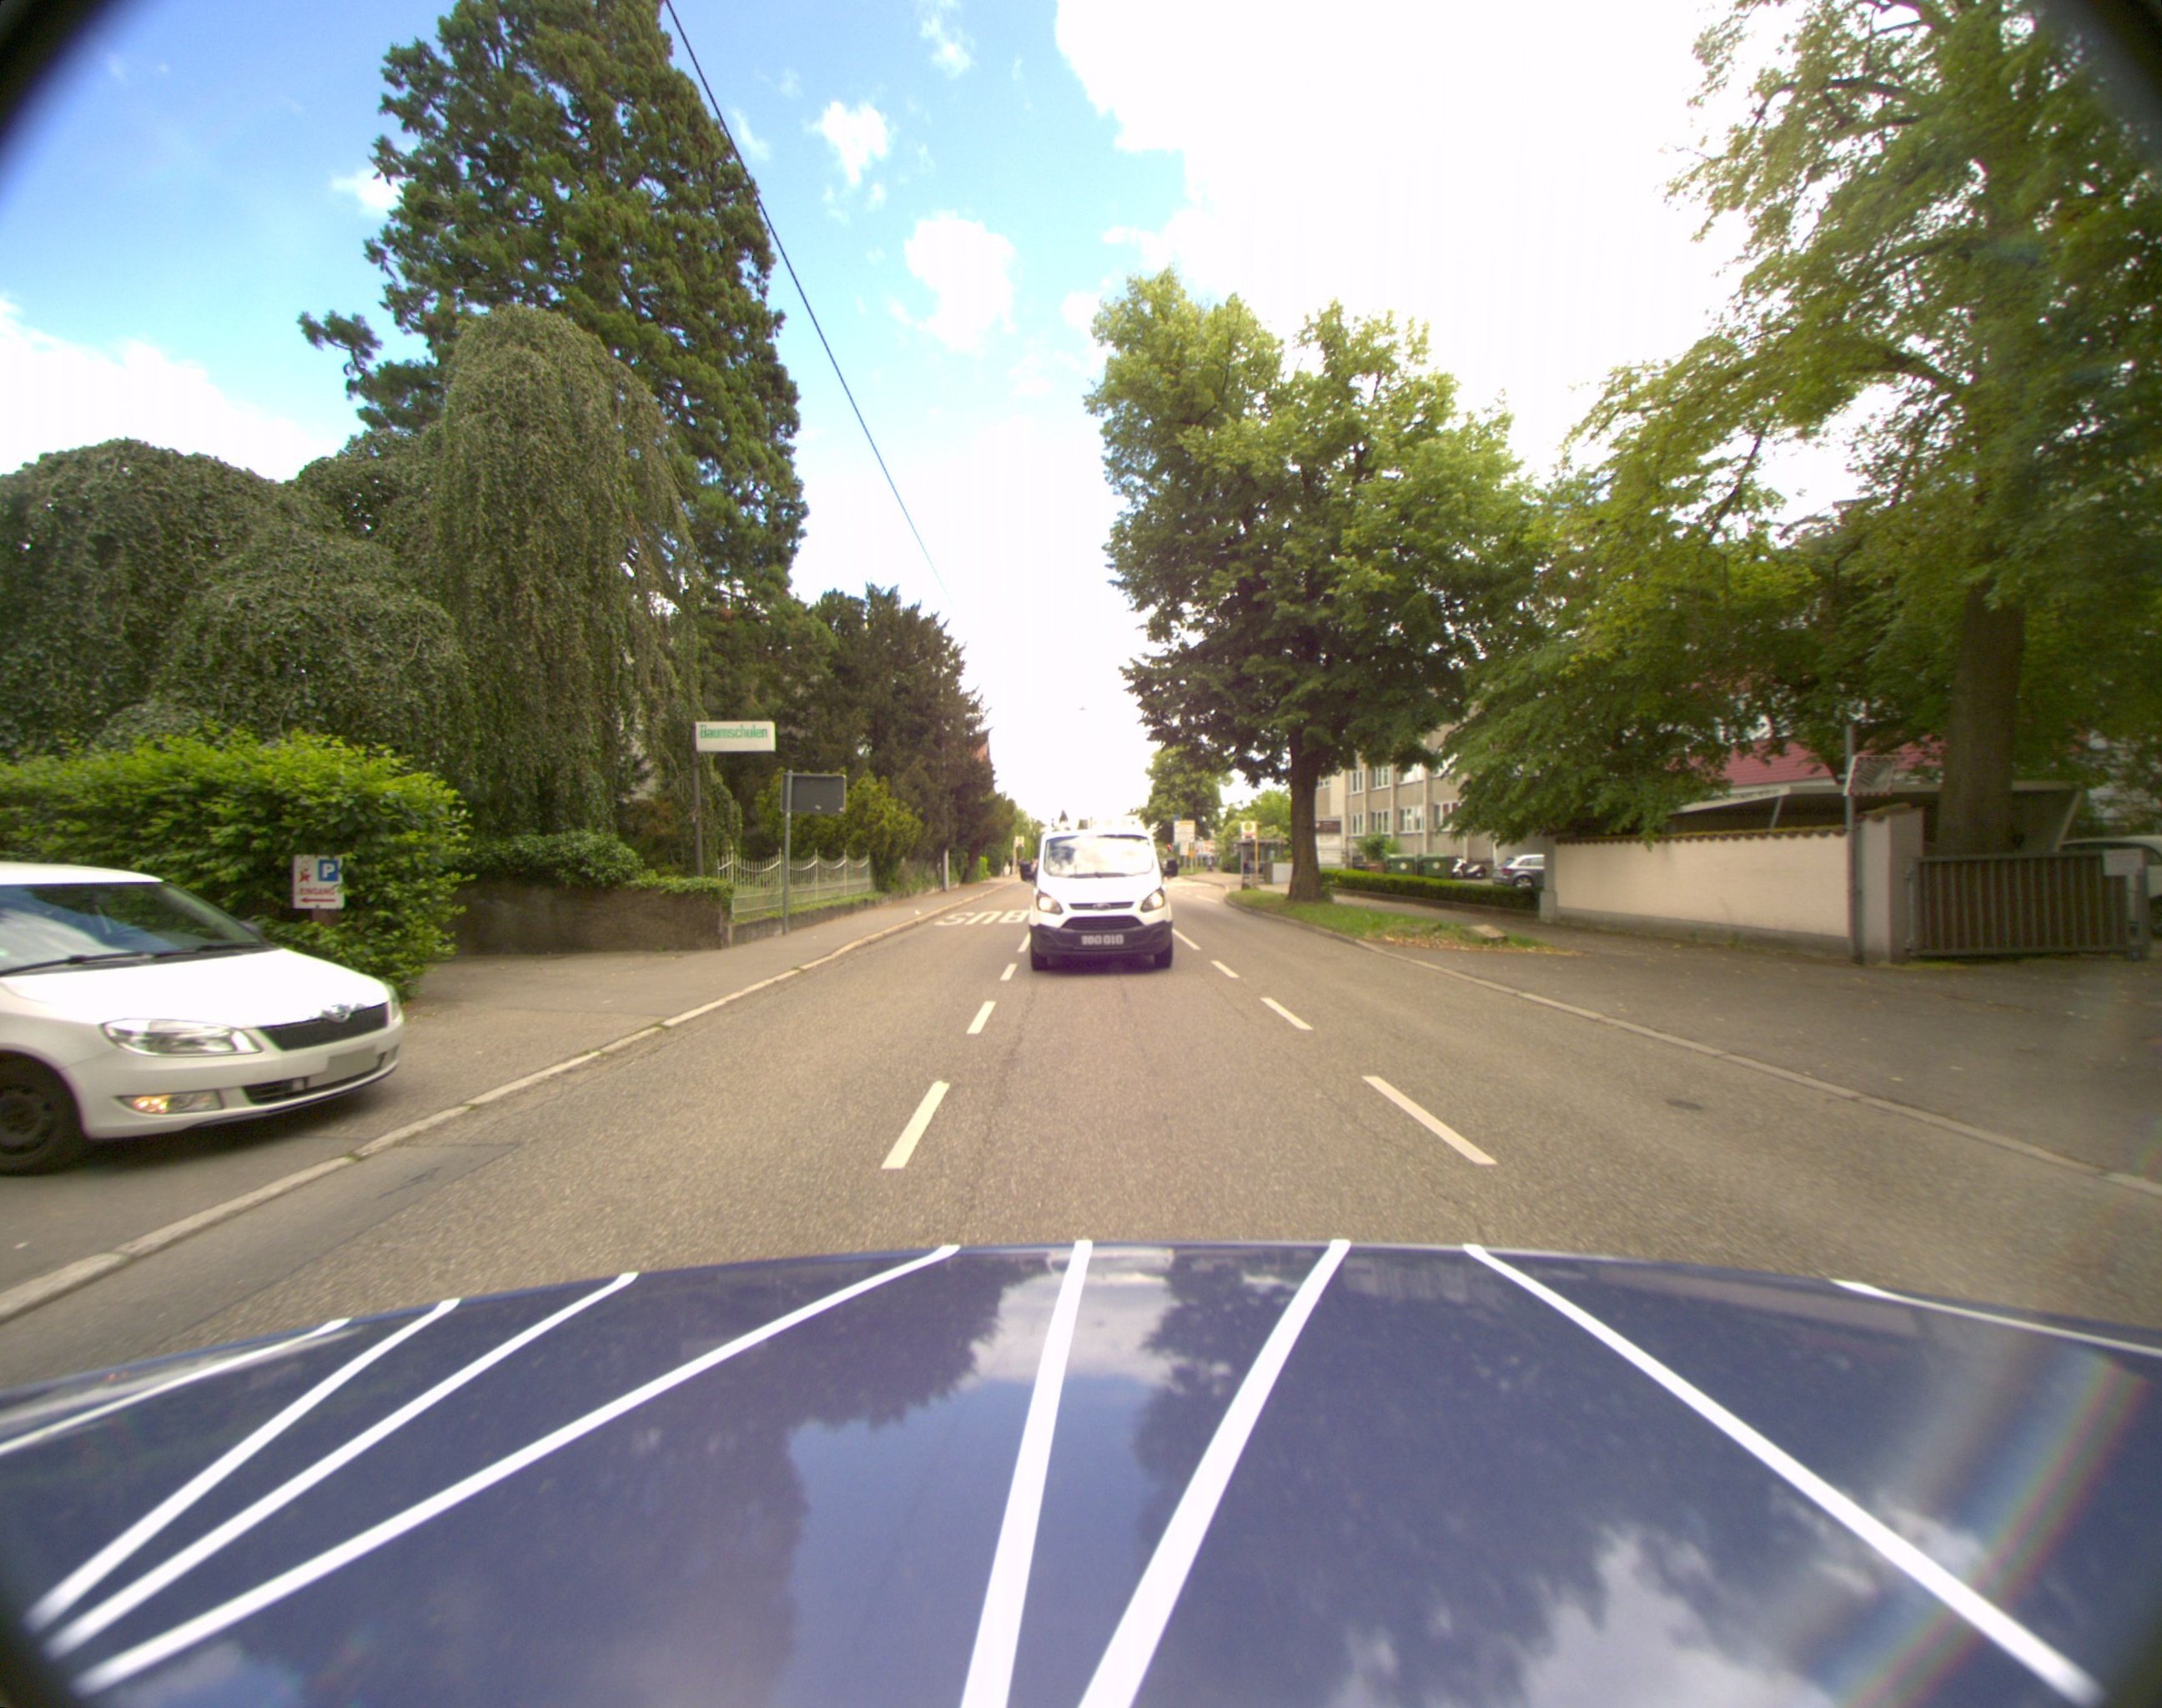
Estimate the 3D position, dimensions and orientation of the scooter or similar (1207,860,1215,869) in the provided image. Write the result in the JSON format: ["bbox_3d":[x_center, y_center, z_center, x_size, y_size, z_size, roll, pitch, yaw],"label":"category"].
[{"bbox_3d":[12.036,1.006,70.312,0.607,0.782,0.860,-1,1,17],"label":"scooter or similar"}]

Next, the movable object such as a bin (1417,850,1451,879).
[{"bbox_3d":[18.488,0.547,39.800,1.365,1.457,0.885,-2,1,0],"label":"movable object such as a bin"}]

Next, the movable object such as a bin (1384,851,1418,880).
[{"bbox_3d":[16.783,0.568,39.859,1.301,1.457,0.992,-2,1,0],"label":"movable object such as a bin"}]

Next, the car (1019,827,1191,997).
[{"bbox_3d":[0.223,0.658,11.915,1.999,1.961,5.713,-2,1,-1],"label":"car"}]

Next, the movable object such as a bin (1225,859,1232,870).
[{"bbox_3d":[13.173,0.922,67.856,0.566,0.922,0.608,-1,1,16],"label":"movable object such as a bin"}]

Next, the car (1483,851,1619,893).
[{"bbox_3d":[18.183,0.699,29.606,4.143,1.470,1.814,-2,1,14],"label":"car"}]

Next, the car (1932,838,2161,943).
[{"bbox_3d":[16.424,0.503,12.144,1.625,1.477,3.616,-2,1,1],"label":"car"}]

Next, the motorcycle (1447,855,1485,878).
[{"bbox_3d":[20.209,0.642,39.871,1.645,1.133,0.639,-2,1,1],"label":"motorcycle"}]

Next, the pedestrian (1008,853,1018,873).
[{"bbox_3d":[-5.932,0.765,66.326,0.488,1.757,0.672,-1,2,31],"label":"pedestrian"}]

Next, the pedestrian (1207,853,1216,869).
[{"bbox_3d":[12.259,0.660,71.329,0.672,1.549,0.520,-1,1,17],"label":"pedestrian"}]

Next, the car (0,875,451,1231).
[{"bbox_3d":[-6.313,0.931,4.299,4.039,1.462,1.600,3,1,-2],"label":"car"}]
